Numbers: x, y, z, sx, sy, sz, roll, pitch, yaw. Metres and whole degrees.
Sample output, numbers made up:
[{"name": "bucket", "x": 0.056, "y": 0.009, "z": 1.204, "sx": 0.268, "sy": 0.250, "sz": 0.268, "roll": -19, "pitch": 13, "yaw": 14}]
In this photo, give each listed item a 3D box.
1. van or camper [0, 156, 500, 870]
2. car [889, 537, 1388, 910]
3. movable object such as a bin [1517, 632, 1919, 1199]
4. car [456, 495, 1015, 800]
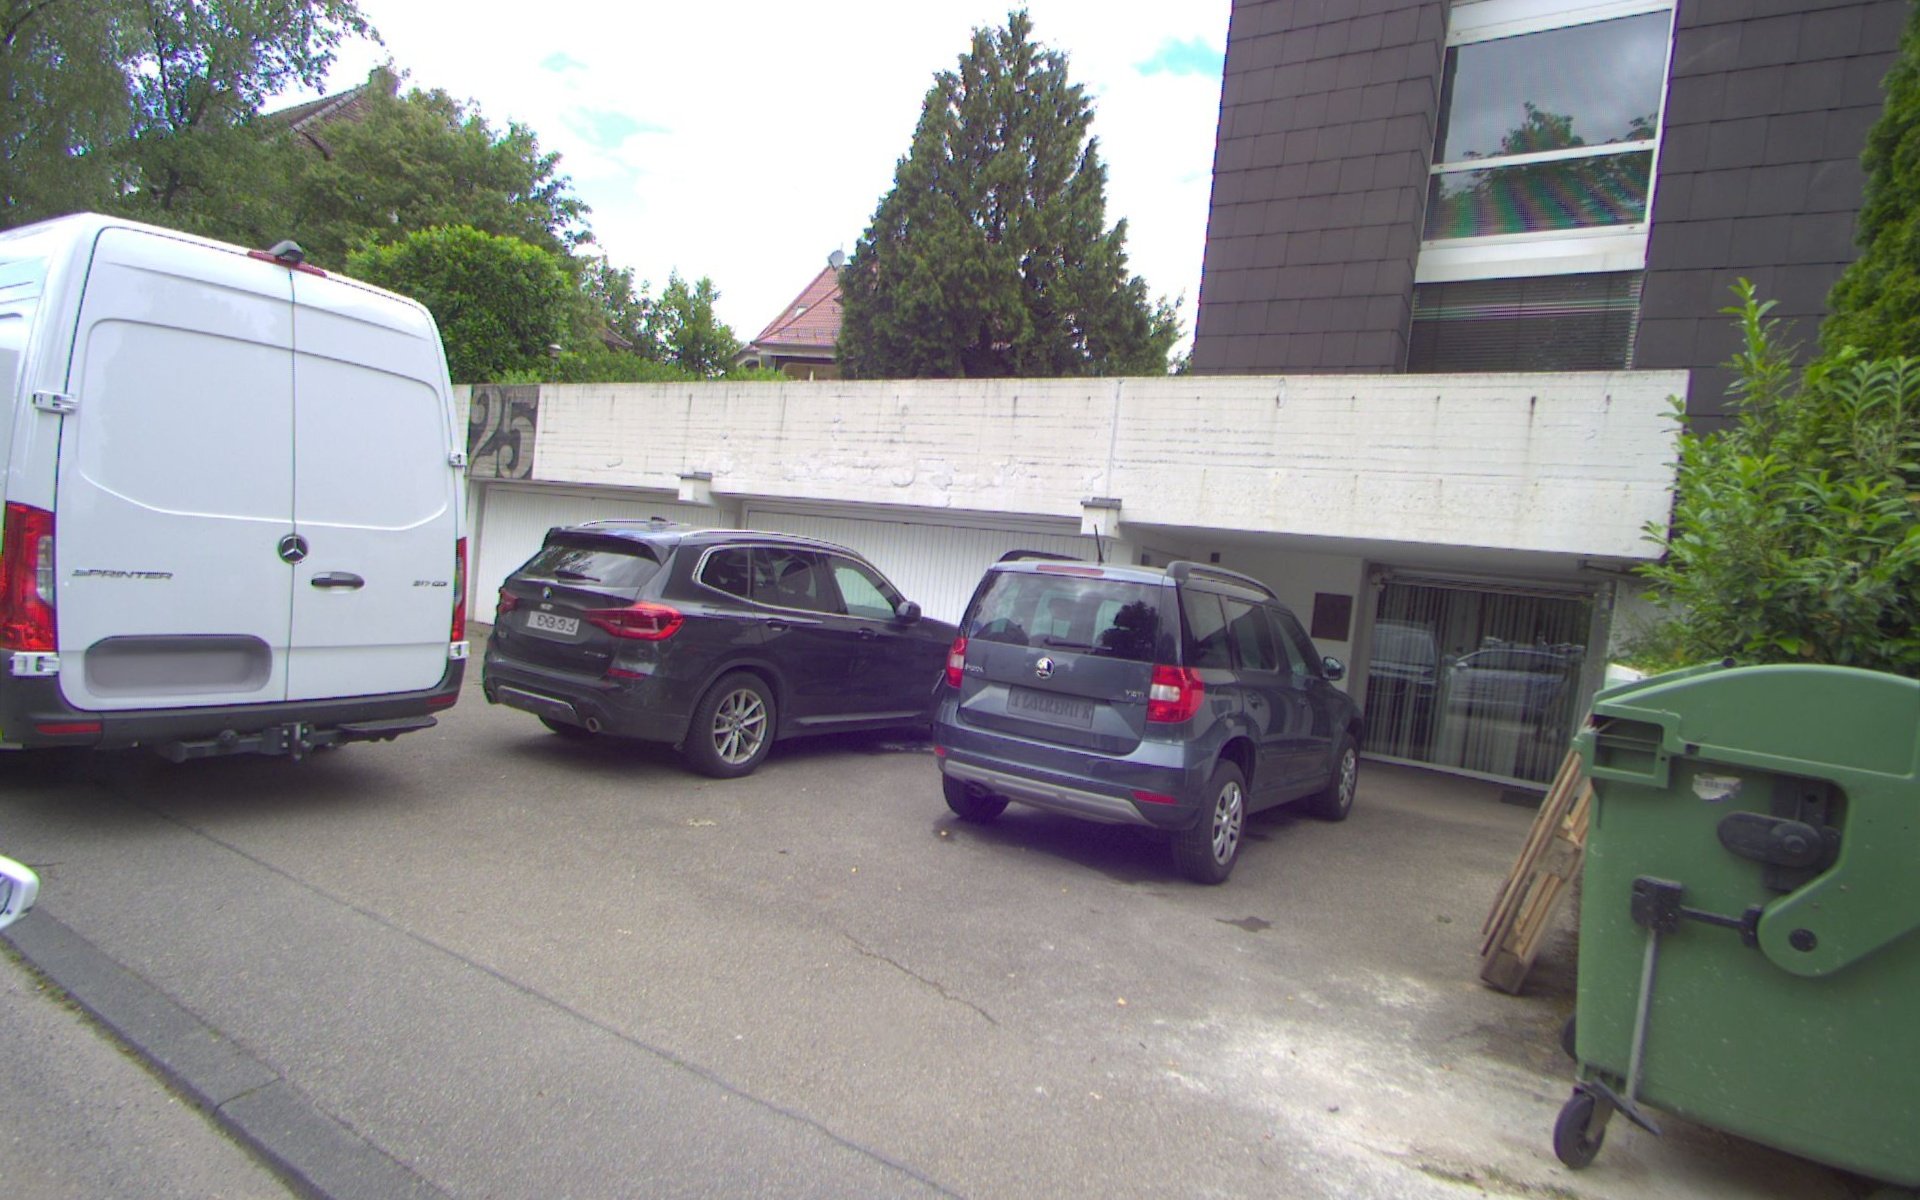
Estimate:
[{"name": "van or camper", "x": -5.782, "y": -0.580, "z": 6.298, "sx": 6.436, "sy": 2.662, "sz": 1.990, "roll": 6, "pitch": 4, "yaw": 32}, {"name": "car", "x": 1.475, "y": 0.644, "z": 6.815, "sx": 1.717, "sy": 1.673, "sz": 3.899, "roll": 6, "pitch": 1, "yaw": 35}, {"name": "movable object such as a bin", "x": 2.400, "y": 0.903, "z": 2.995, "sx": 1.098, "sy": 1.469, "sz": 1.405, "roll": 6, "pitch": 1, "yaw": 32}, {"name": "car", "x": -1.415, "y": 0.323, "z": 8.055, "sx": 1.668, "sy": 1.696, "sz": 4.383, "roll": 6, "pitch": 1, "yaw": 32}]
